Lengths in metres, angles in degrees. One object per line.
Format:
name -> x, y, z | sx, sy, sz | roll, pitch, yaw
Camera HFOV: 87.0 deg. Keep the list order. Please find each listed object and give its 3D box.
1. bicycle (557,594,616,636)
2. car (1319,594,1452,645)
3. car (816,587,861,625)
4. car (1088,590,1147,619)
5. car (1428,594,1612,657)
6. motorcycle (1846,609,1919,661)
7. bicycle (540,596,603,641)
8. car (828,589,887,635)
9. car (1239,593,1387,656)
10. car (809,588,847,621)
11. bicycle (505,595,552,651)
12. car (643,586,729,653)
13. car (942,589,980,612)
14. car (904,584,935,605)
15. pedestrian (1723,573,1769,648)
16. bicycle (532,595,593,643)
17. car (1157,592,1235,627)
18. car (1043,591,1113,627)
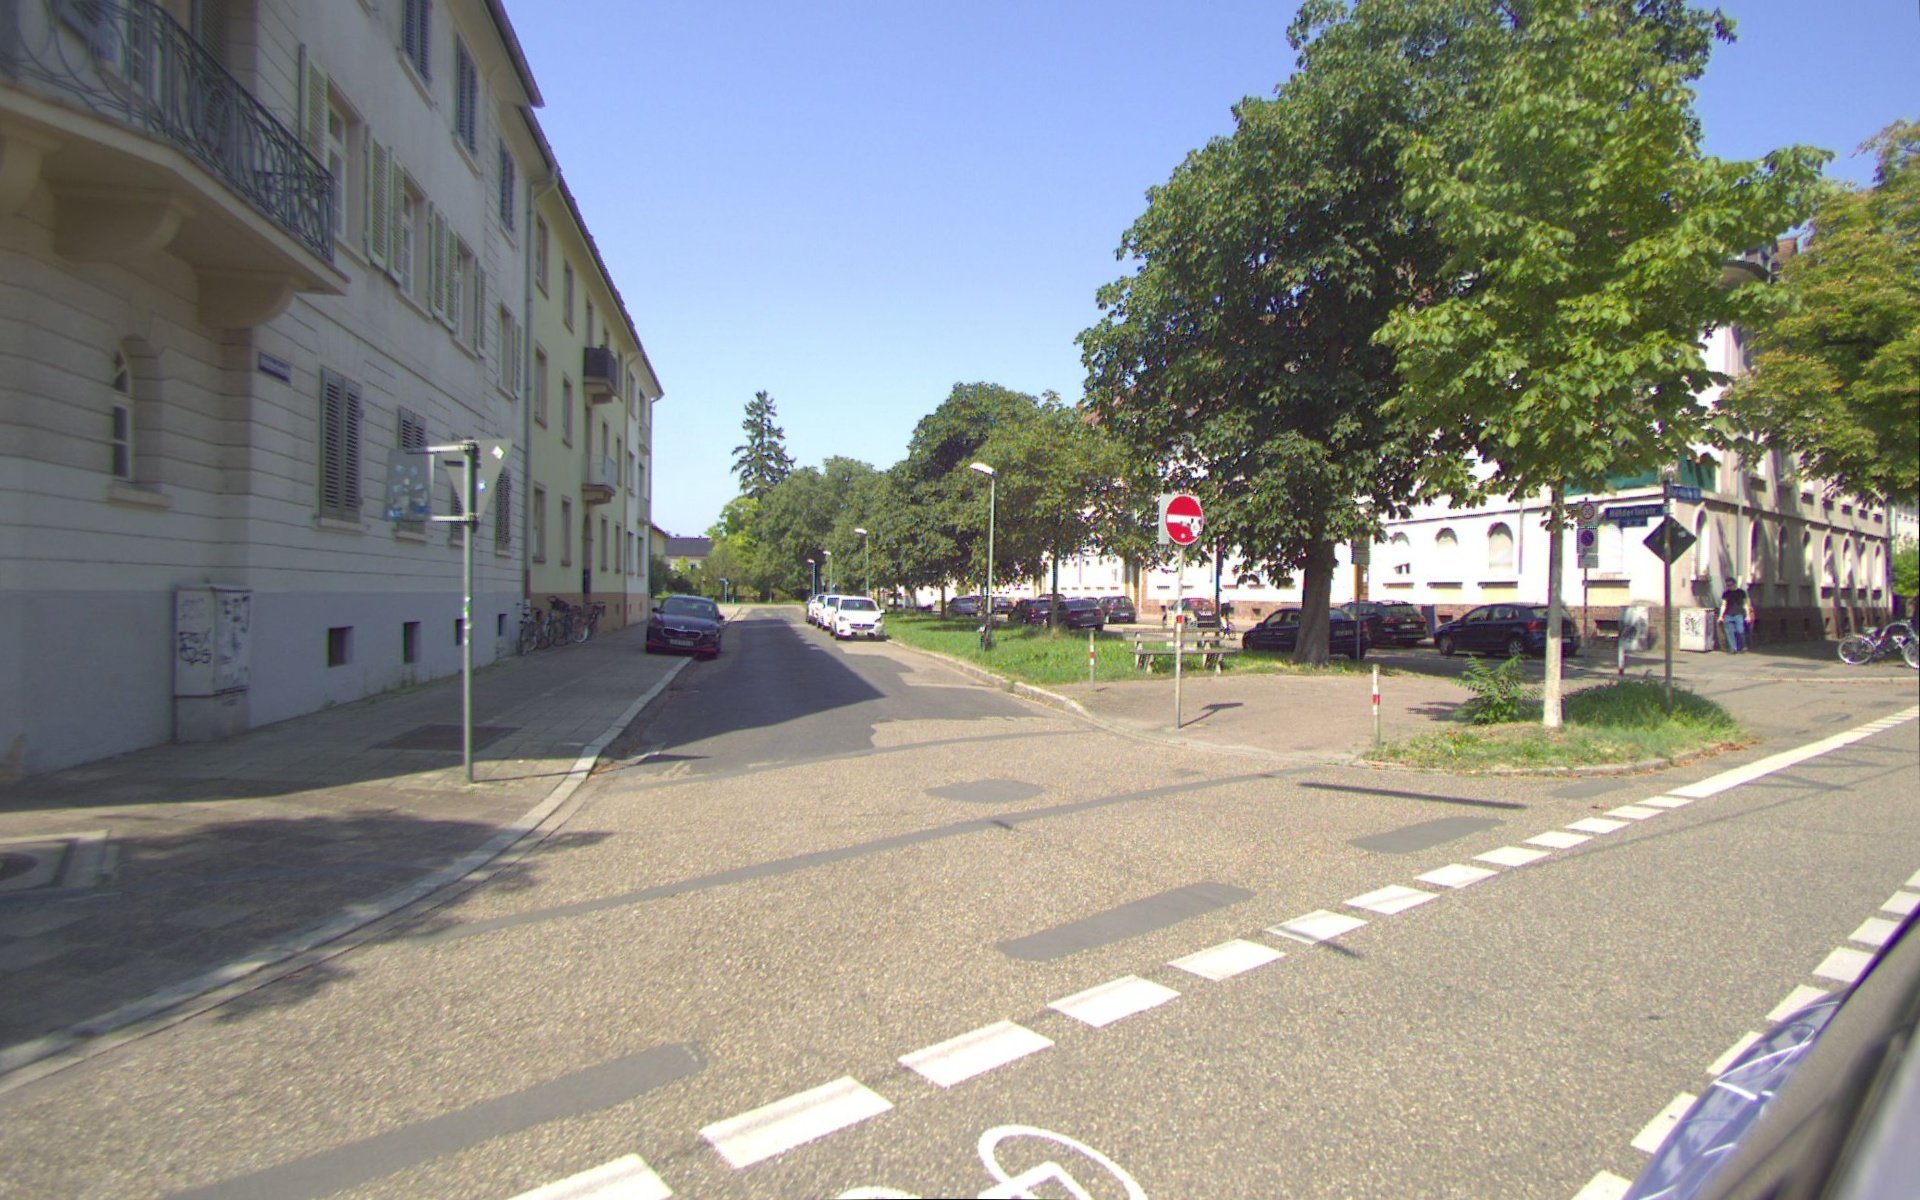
bicycle -> -10.624, 0.409, 28.854 | 0.449, 1.130, 2.204 | 1, 1, 13
car -> 13.341, 0.563, 31.998 | 1.934, 1.457, 4.008 | 1, 1, -11
car -> -5.199, 0.229, 43.071 | 1.565, 1.497, 4.008 | 1, 1, -11
car -> 8.616, 0.223, 55.665 | 1.934, 1.457, 4.008 | 1, 1, -11
car -> 14.486, 0.607, 26.445 | 1.934, 1.461, 4.009 | 1, 1, -15
motorcycle -> 21.061, 0.794, 22.422 | 0.782, 1.027, 2.001 | 0, 4, -38
bicycle -> -10.311, 0.457, 26.919 | 0.449, 1.130, 2.205 | 1, 1, 11
car -> -3.660, 0.397, 35.597 | 1.653, 1.497, 4.008 | 1, 1, -11
car -> 8.953, 0.576, 26.065 | 1.799, 1.448, 4.008 | 1, 1, -11
car -> -6.404, 0.186, 48.859 | 1.565, 1.497, 4.008 | 1, 1, -11
bicycle -> -9.392, 0.472, 22.095 | 0.446, 1.130, 2.216 | 1, 1, -10
car -> -6.961, 0.439, 26.069 | 1.842, 1.560, 4.337 | 1, 1, -11
car -> 0.029, 0.020, 69.497 | 1.799, 1.448, 4.008 | 1, 1, -11
car -> -3.471, -0.485, 86.420 | 2.001, 1.758, 4.008 | 1, 1, -11
pedestrian -> 19.227, 0.252, 24.758 | 0.620, 1.808, 0.749 | 1, 0, -38
bicycle -> -9.934, 0.448, 25.384 | 0.448, 1.130, 2.209 | 1, 1, 6
car -> 10.528, 0.380, 45.461 | 1.934, 1.457, 4.008 | 1, 1, -11
car -> 5.156, 0.357, 44.736 | 1.799, 1.448, 4.286 | 1, 1, -11
